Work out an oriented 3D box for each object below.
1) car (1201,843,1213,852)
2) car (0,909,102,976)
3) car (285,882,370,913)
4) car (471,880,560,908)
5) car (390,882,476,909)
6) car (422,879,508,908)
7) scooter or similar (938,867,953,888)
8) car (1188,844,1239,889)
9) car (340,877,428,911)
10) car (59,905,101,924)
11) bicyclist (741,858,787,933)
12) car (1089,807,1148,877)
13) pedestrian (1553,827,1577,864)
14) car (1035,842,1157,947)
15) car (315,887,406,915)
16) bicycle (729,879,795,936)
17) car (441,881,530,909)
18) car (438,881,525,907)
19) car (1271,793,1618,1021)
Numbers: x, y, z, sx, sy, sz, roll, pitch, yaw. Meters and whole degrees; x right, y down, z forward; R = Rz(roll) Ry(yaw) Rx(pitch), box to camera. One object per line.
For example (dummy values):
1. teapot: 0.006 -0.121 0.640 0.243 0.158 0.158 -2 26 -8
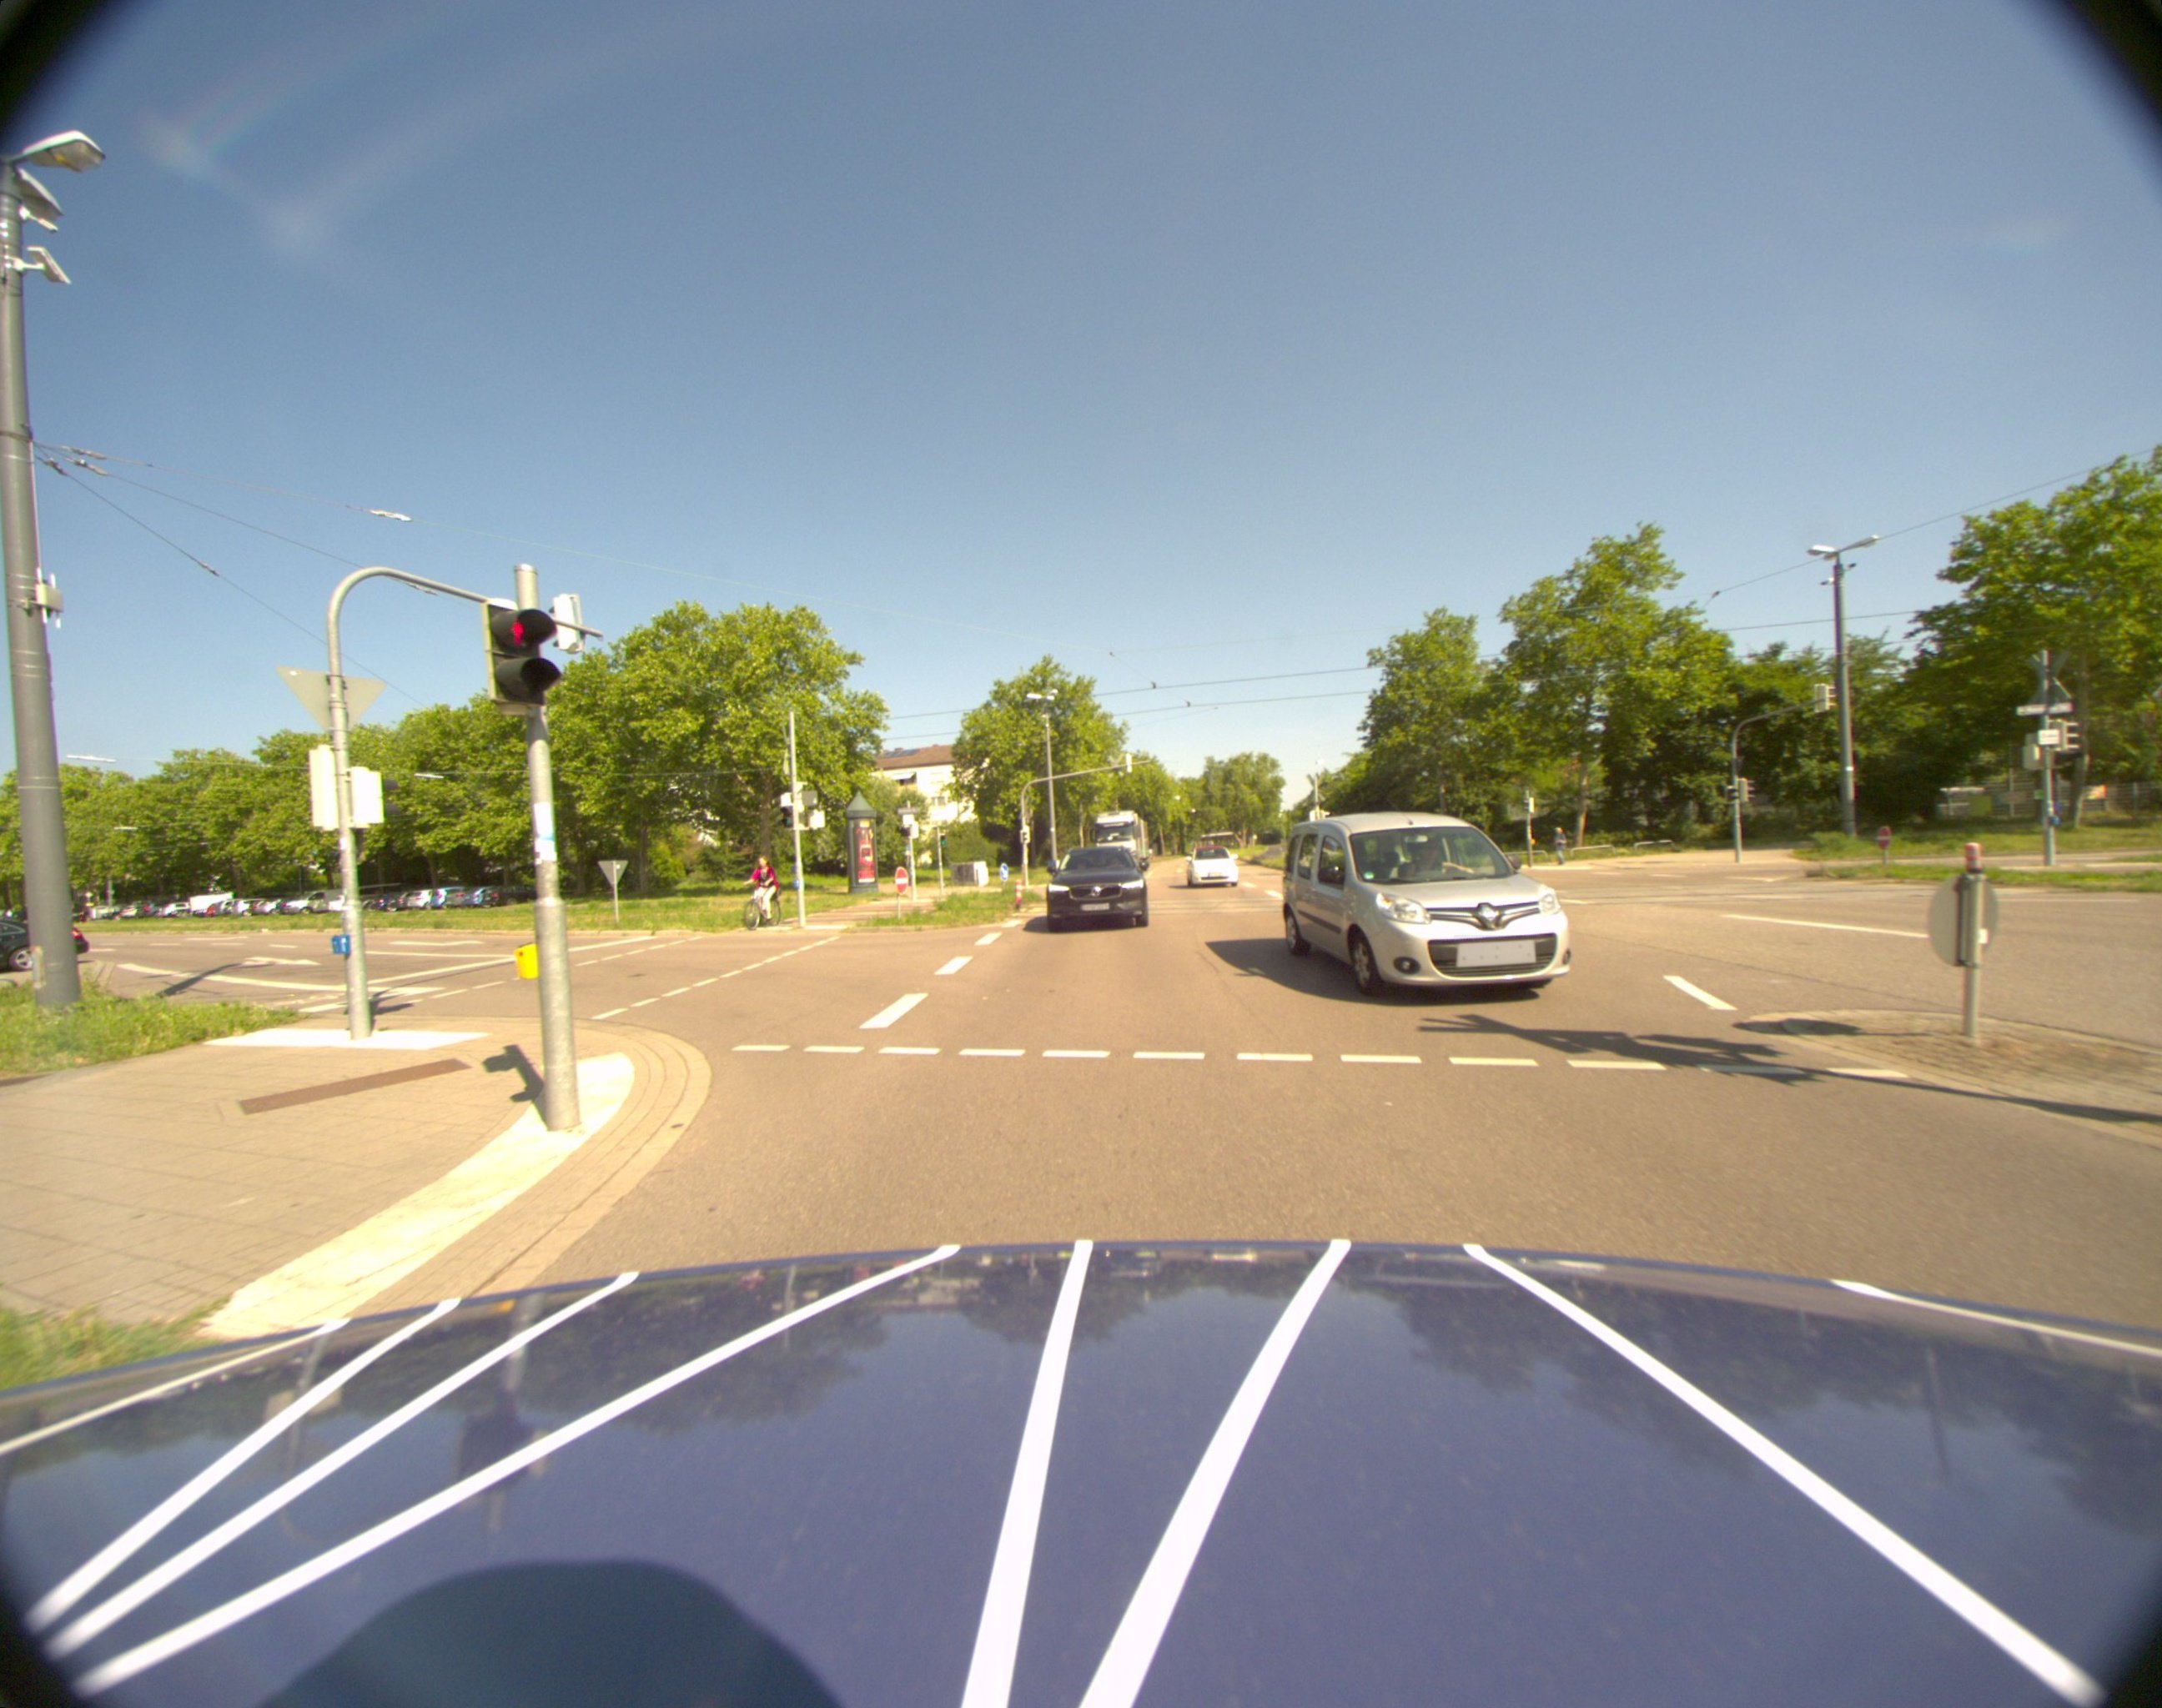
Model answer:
1. car: 30.696 -1.605 185.066 1.996 2.002 4.005 -3 1 19
2. car: -28.782 2.446 18.779 2.138 1.490 5.124 -3 2 22
3. car: -63.262 3.629 63.904 1.996 2.196 4.595 -3 1 18
4. car: -37.950 2.644 51.145 1.996 1.482 4.359 -3 1 18
5. car: -47.513 3.021 55.824 1.996 1.623 4.359 -3 1 18
6. car: -44.905 2.851 55.485 1.996 1.623 4.359 -4 0 18
7. scooter or similar: -8.005 1.375 44.785 0.517 1.135 1.443 -5 2 -21
8. car: 4.910 0.408 28.572 1.688 1.482 4.377 -3 1 8
9. car: -55.104 3.159 60.194 1.995 2.276 4.596 -3 1 24
10. car: -100.199 6.076 76.051 3.991 1.645 1.796 -4 0 27
11. bicyclist: -7.796 1.002 18.719 0.702 1.777 0.810 -3 1 -1
12. car: 2.440 -0.728 47.171 2.901 3.898 7.144 -3 1 8
13. pedestrian: 20.506 -0.348 32.171 0.607 1.526 0.568 -3 1 0
14. car: 0.353 0.637 14.923 1.904 1.606 4.873 -4 1 3
15. car: -52.912 3.429 55.916 1.996 1.623 4.359 -3 1 18
16. bicycle: -7.794 1.278 18.683 0.693 1.179 2.124 -3 1 -1
17. car: -40.778 2.768 52.135 1.996 1.482 4.359 -3 1 18
18. car: -42.538 2.828 54.036 1.996 1.482 4.359 -3 1 18
19. car: 3.549 0.437 8.473 1.876 1.829 4.376 -2 0 2
